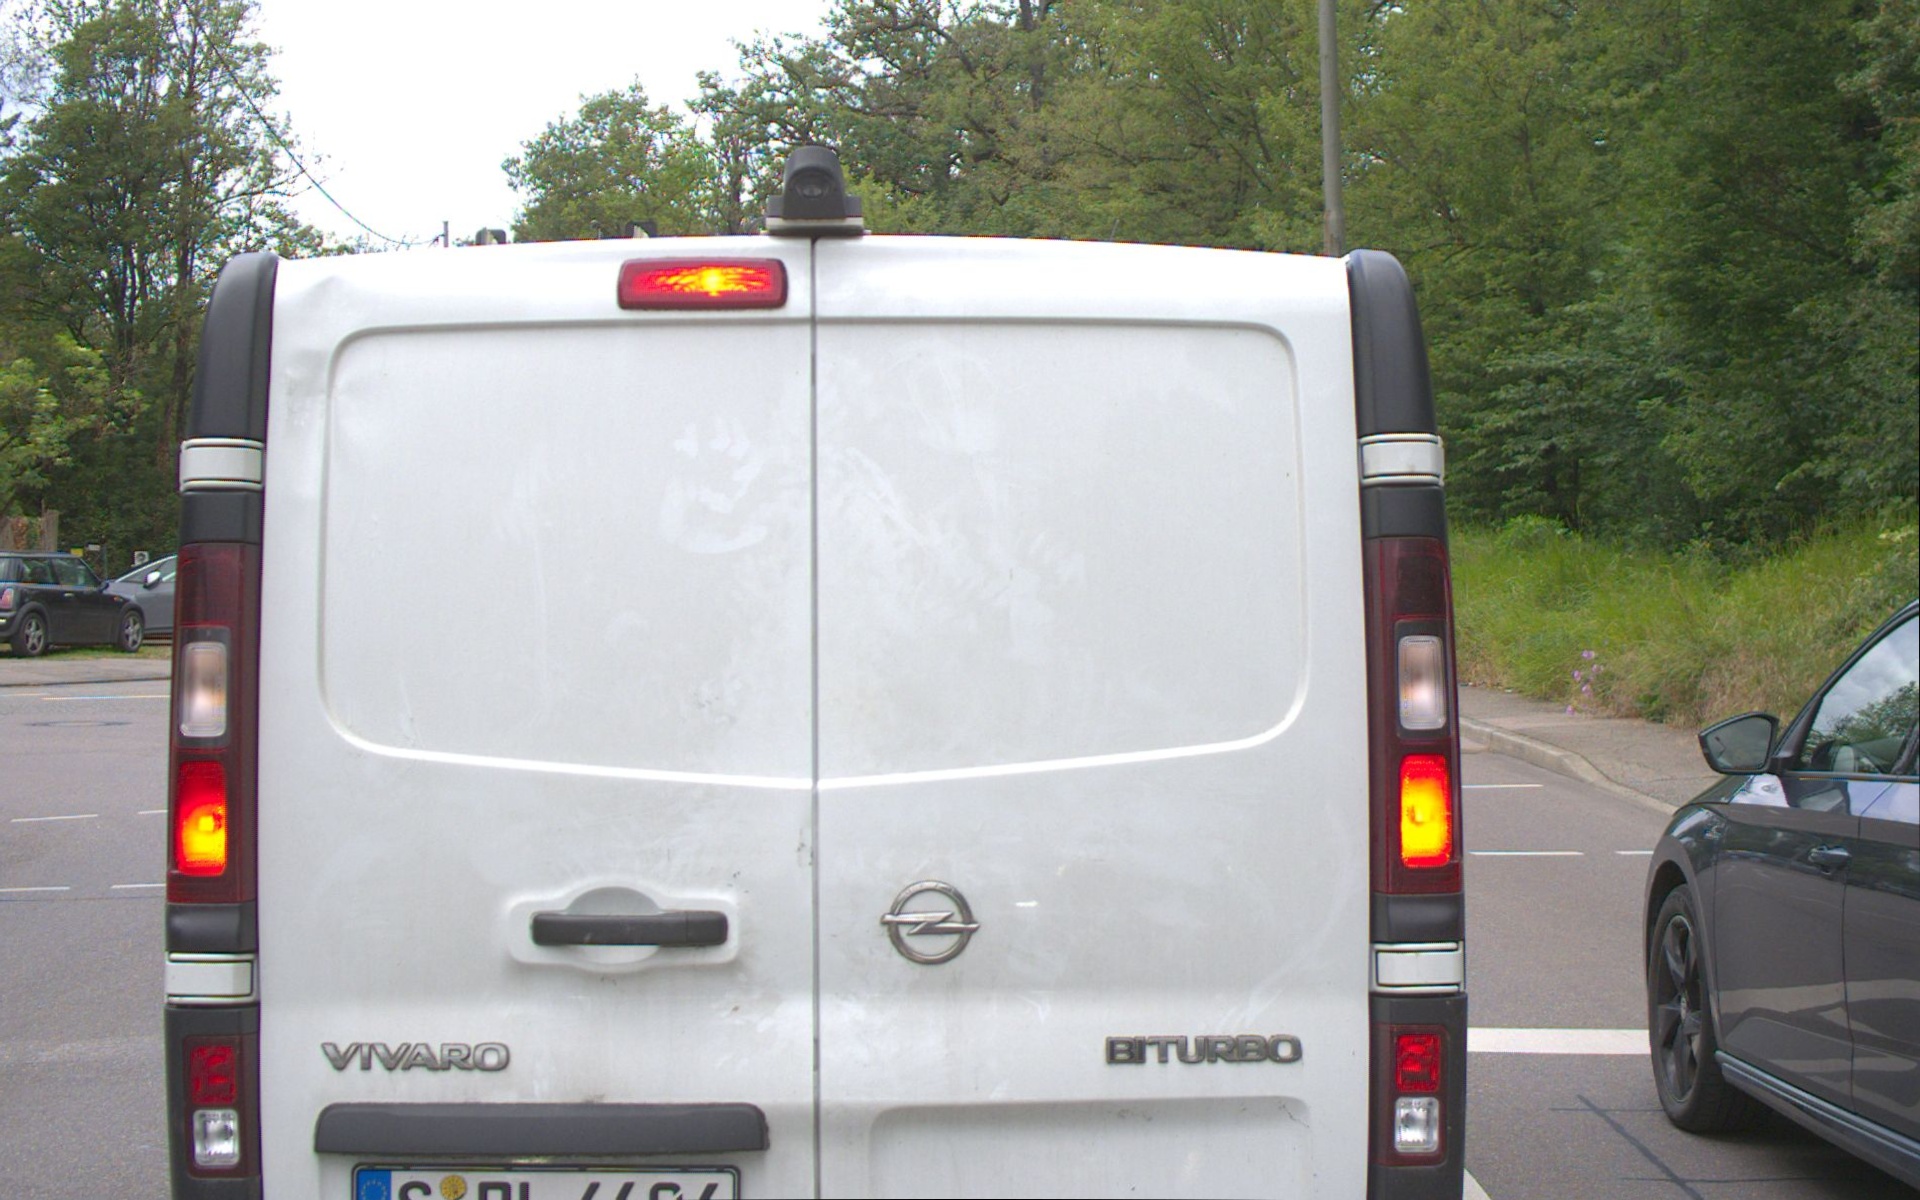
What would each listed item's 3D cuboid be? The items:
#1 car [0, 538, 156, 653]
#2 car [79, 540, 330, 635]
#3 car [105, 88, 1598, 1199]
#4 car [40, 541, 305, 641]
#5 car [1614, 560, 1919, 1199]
[{"bbox_3d":[-12.500,-0.089,46.049,1.699,1.444,3.540,2,1,19],"label":"car"},{"bbox_3d":[-13.064,-0.236,59.428,4.085,1.548,1.855,-1,2,-17],"label":"car"},{"bbox_3d":[-0.253,0.335,6.796,1.916,2.046,4.615,1,1,-3],"label":"car"},{"bbox_3d":[-12.917,-0.169,56.341,4.085,1.548,1.855,-1,2,-17],"label":"car"},{"bbox_3d":[2.696,0.659,7.159,1.792,1.445,4.001,0,1,-2],"label":"car"}]
